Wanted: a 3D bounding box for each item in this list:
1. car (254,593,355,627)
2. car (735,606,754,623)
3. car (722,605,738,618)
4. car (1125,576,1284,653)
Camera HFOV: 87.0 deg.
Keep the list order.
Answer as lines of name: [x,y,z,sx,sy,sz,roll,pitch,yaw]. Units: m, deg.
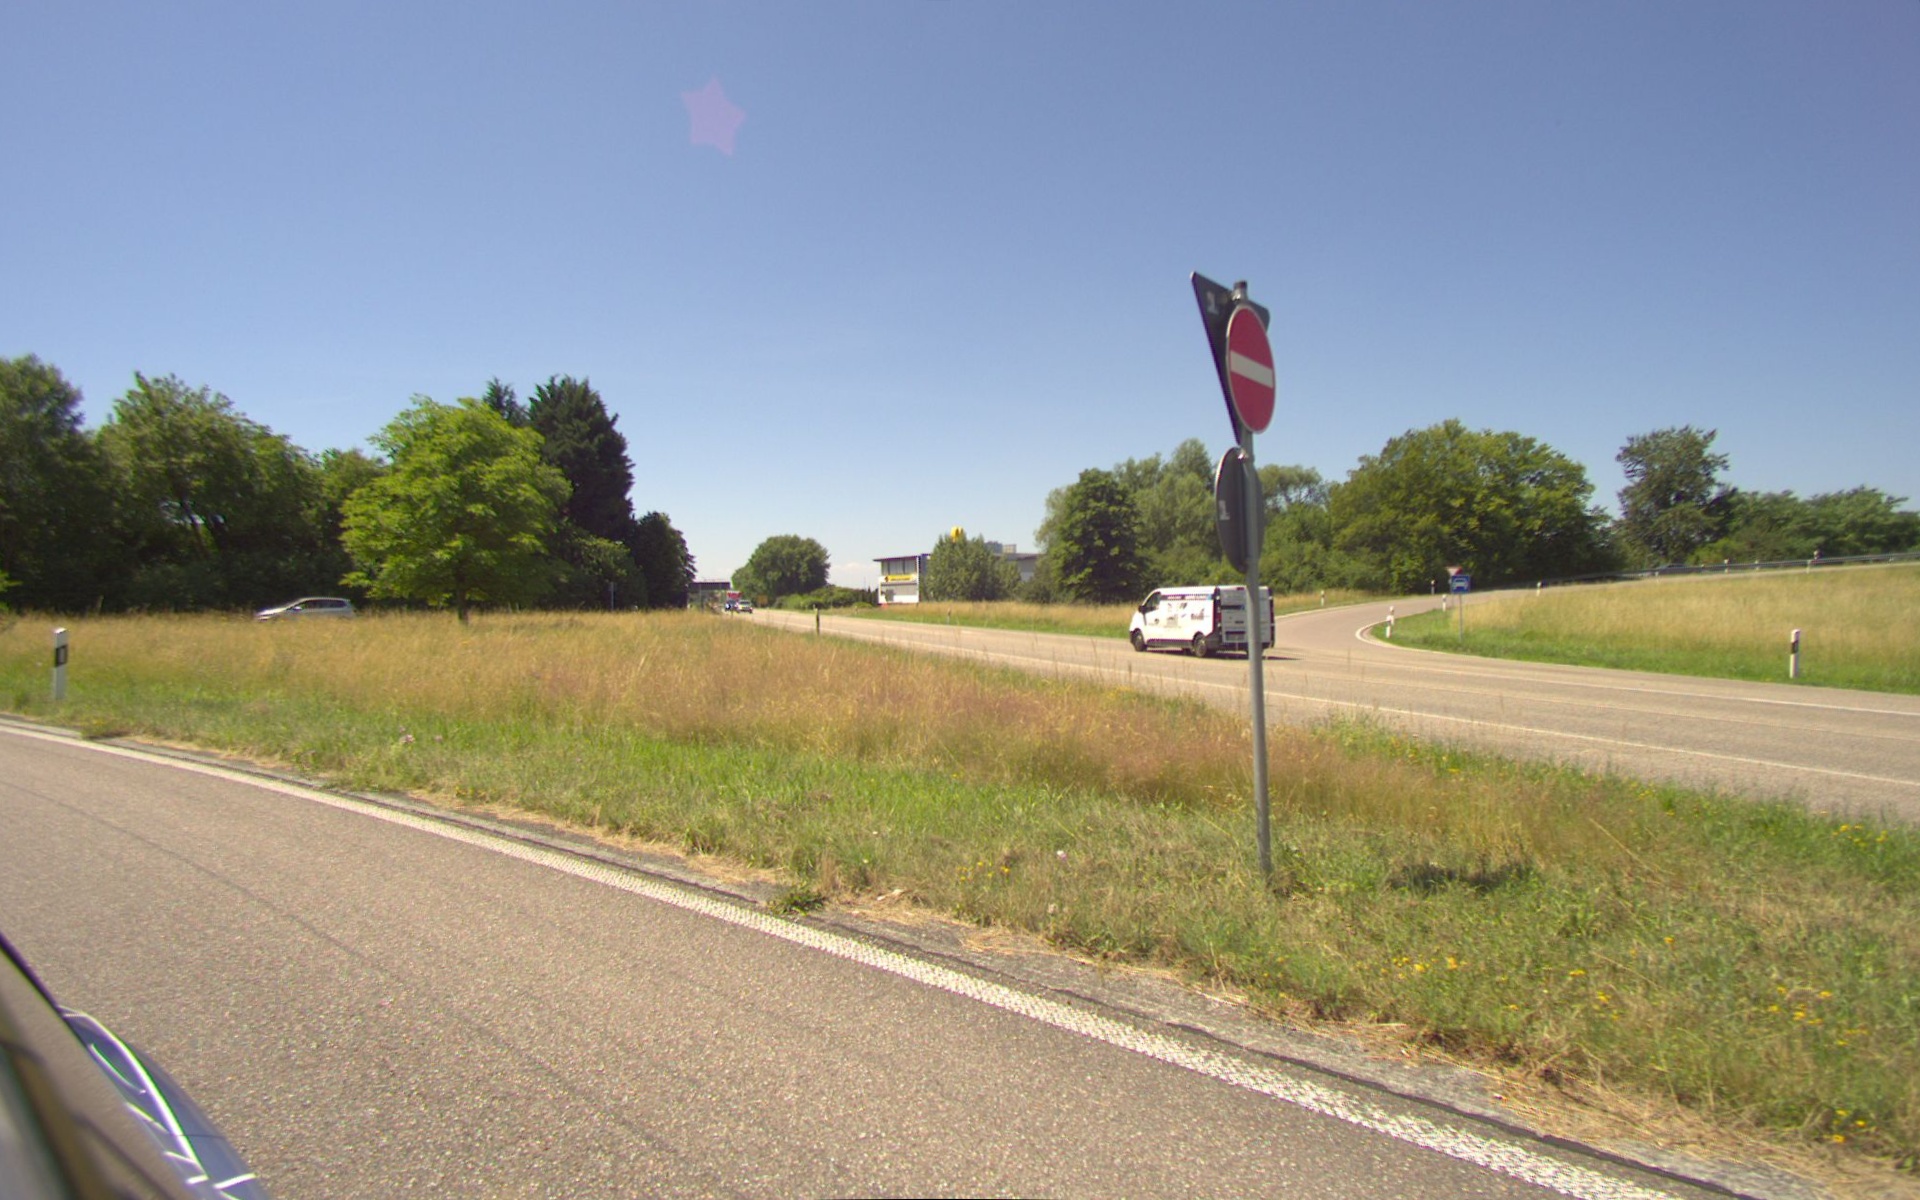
car: [-32.376,0.538,50.019,3.939,1.608,1.859,1,-3,-43]
car: [-26.655,1.823,125.247,1.882,1.976,4.469,0,-2,-17]
car: [-32.891,1.680,144.800,1.882,1.795,4.469,0,-2,-17]
car: [6.747,0.460,28.744,1.882,1.976,5.409,0,-2,-17]
